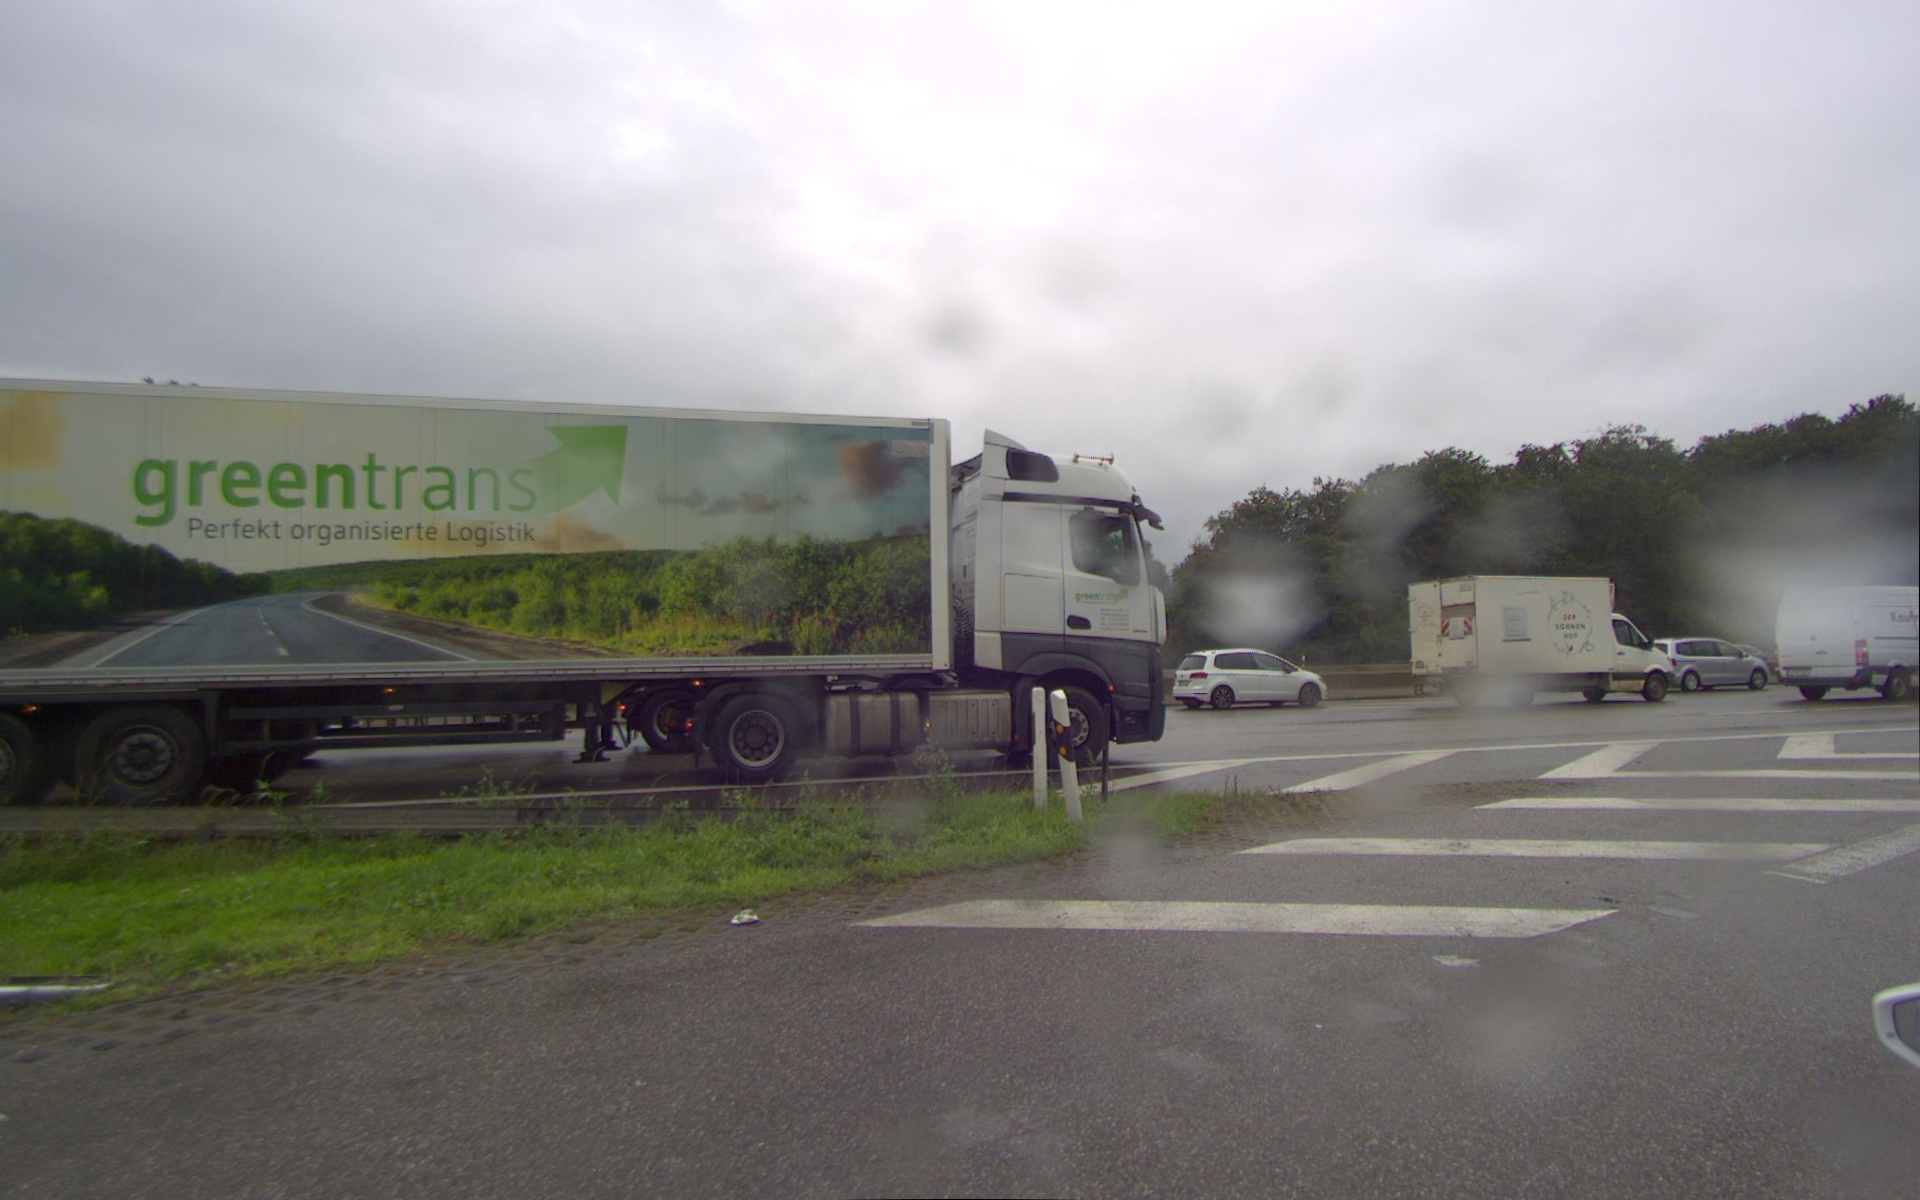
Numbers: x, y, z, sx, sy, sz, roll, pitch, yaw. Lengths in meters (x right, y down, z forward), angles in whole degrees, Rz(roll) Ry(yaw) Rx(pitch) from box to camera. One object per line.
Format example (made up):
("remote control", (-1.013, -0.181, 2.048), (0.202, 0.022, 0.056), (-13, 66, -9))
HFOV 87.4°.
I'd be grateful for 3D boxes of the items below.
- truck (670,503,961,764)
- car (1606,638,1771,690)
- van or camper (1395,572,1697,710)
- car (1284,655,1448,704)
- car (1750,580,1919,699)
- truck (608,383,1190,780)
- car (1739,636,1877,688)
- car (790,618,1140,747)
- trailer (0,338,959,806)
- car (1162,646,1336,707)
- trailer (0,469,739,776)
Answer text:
("truck", (-2.529, 0.567, 16.975), (4.513, 3.914, 2.628), (0, -3, -16))
("car", (23.304, 2.025, 32.163), (4.554, 1.542, 1.867), (0, -3, -16))
("van or camper", (15.091, 1.061, 25.935), (7.014, 3.245, 2.580), (0, -3, -17))
("car", (12.907, 2.489, 31.963), (4.753, 1.443, 1.745), (0, -3, -16))
("car", (22.489, 0.957, 24.365), (5.747, 2.664, 2.216), (0, -3, -16))
("truck", (-0.795, -0.100, 12.730), (6.606, 4.152, 2.920), (1, -3, -15))
("car", (29.933, 2.167, 35.470), (3.934, 1.728, 1.777), (0, -3, -16))
("car", (0.085, 1.679, 21.664), (7.243, 2.520, 2.149), (0, -3, -15))
("trailer", (-6.856, -0.167, 11.118), (13.406, 4.260, 2.920), (1, -3, -15))
("car", (7.828, 2.039, 27.290), (4.341, 1.542, 1.616), (0, -3, -15))
("trailer", (-10.199, 0.357, 14.748), (13.451, 3.914, 2.628), (0, -3, -16))
